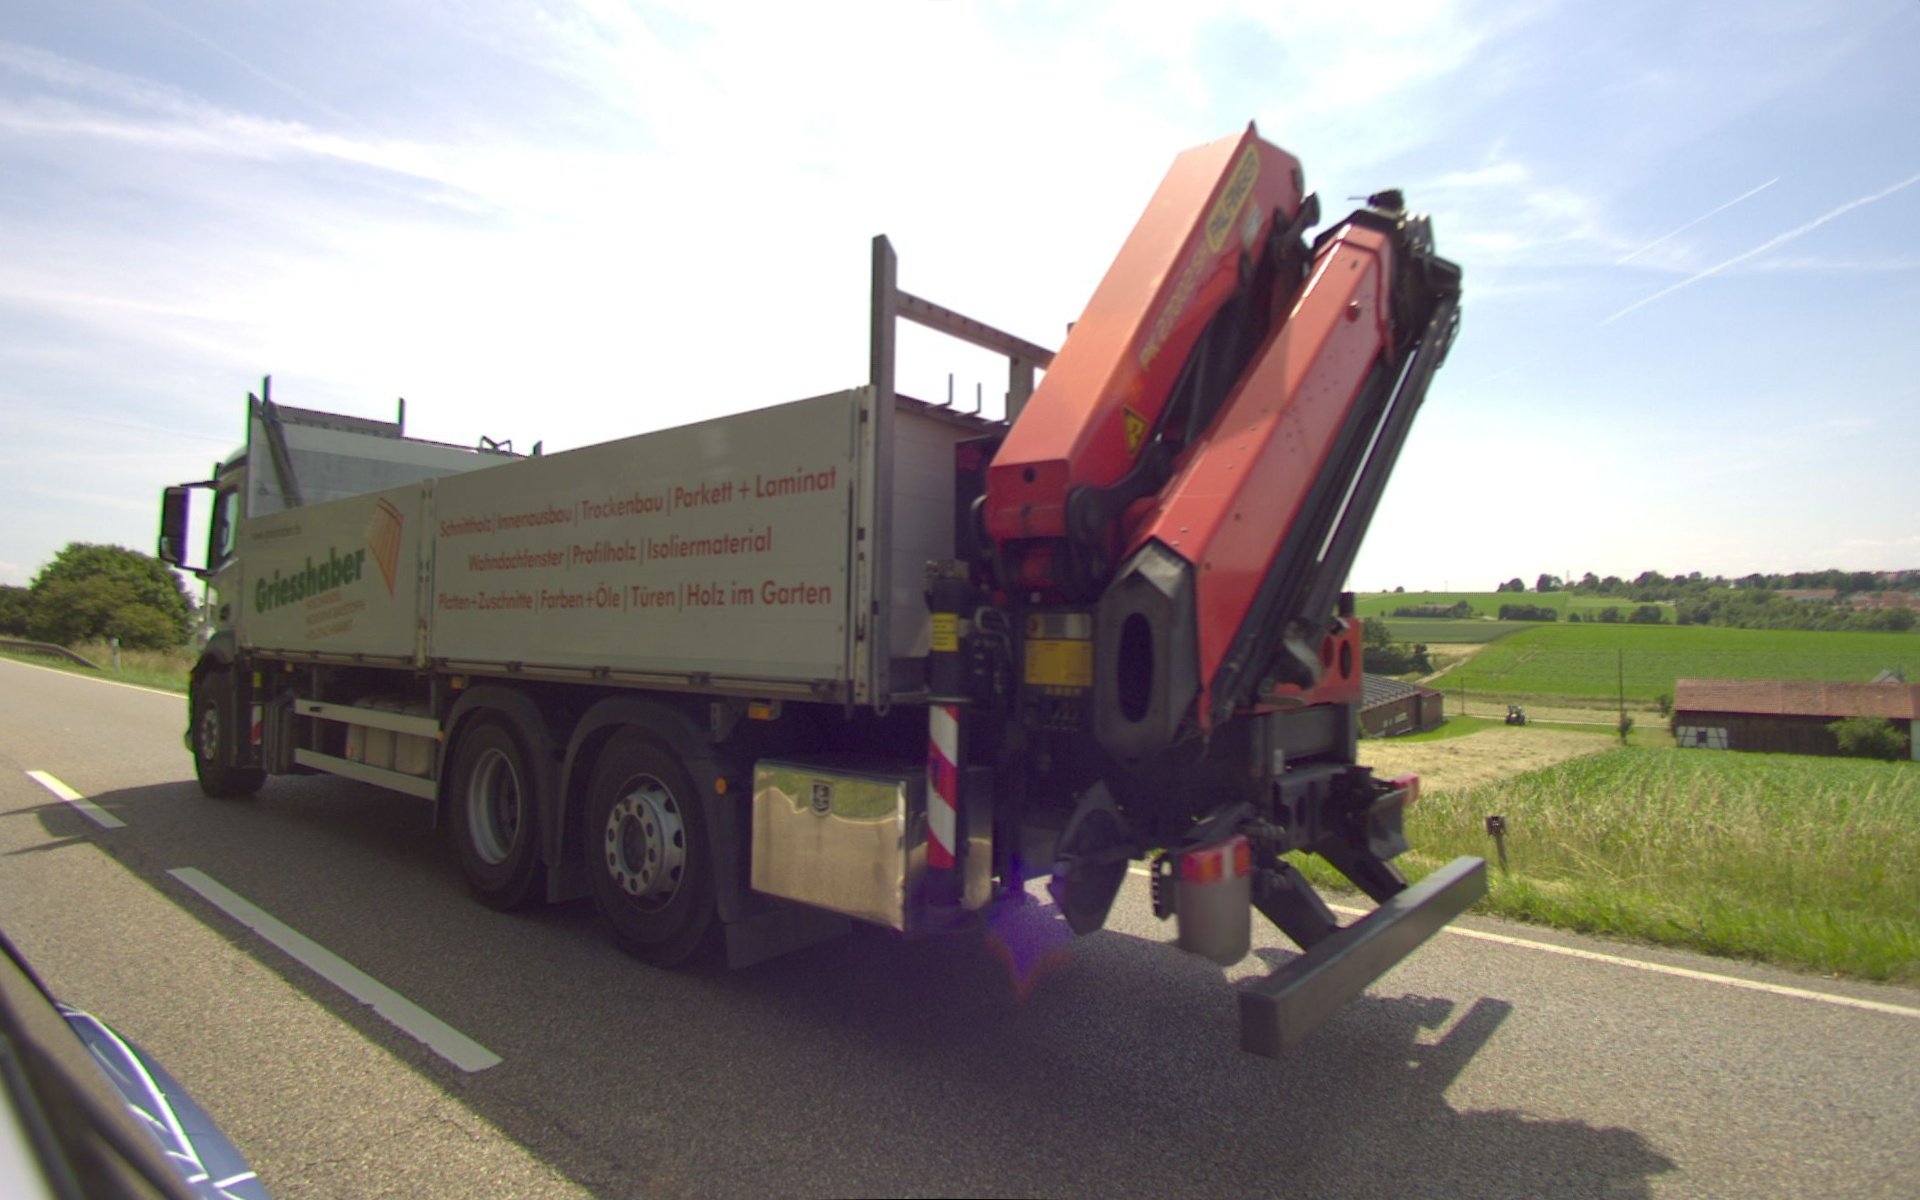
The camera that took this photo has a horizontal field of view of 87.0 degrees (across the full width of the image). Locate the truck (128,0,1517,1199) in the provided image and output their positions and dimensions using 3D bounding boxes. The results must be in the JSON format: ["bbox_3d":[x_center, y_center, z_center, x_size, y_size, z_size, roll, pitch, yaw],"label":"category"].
[{"bbox_3d":[-2.649,-0.206,6.986,11.057,3.603,2.728,-1,-4,40],"label":"truck"}]
